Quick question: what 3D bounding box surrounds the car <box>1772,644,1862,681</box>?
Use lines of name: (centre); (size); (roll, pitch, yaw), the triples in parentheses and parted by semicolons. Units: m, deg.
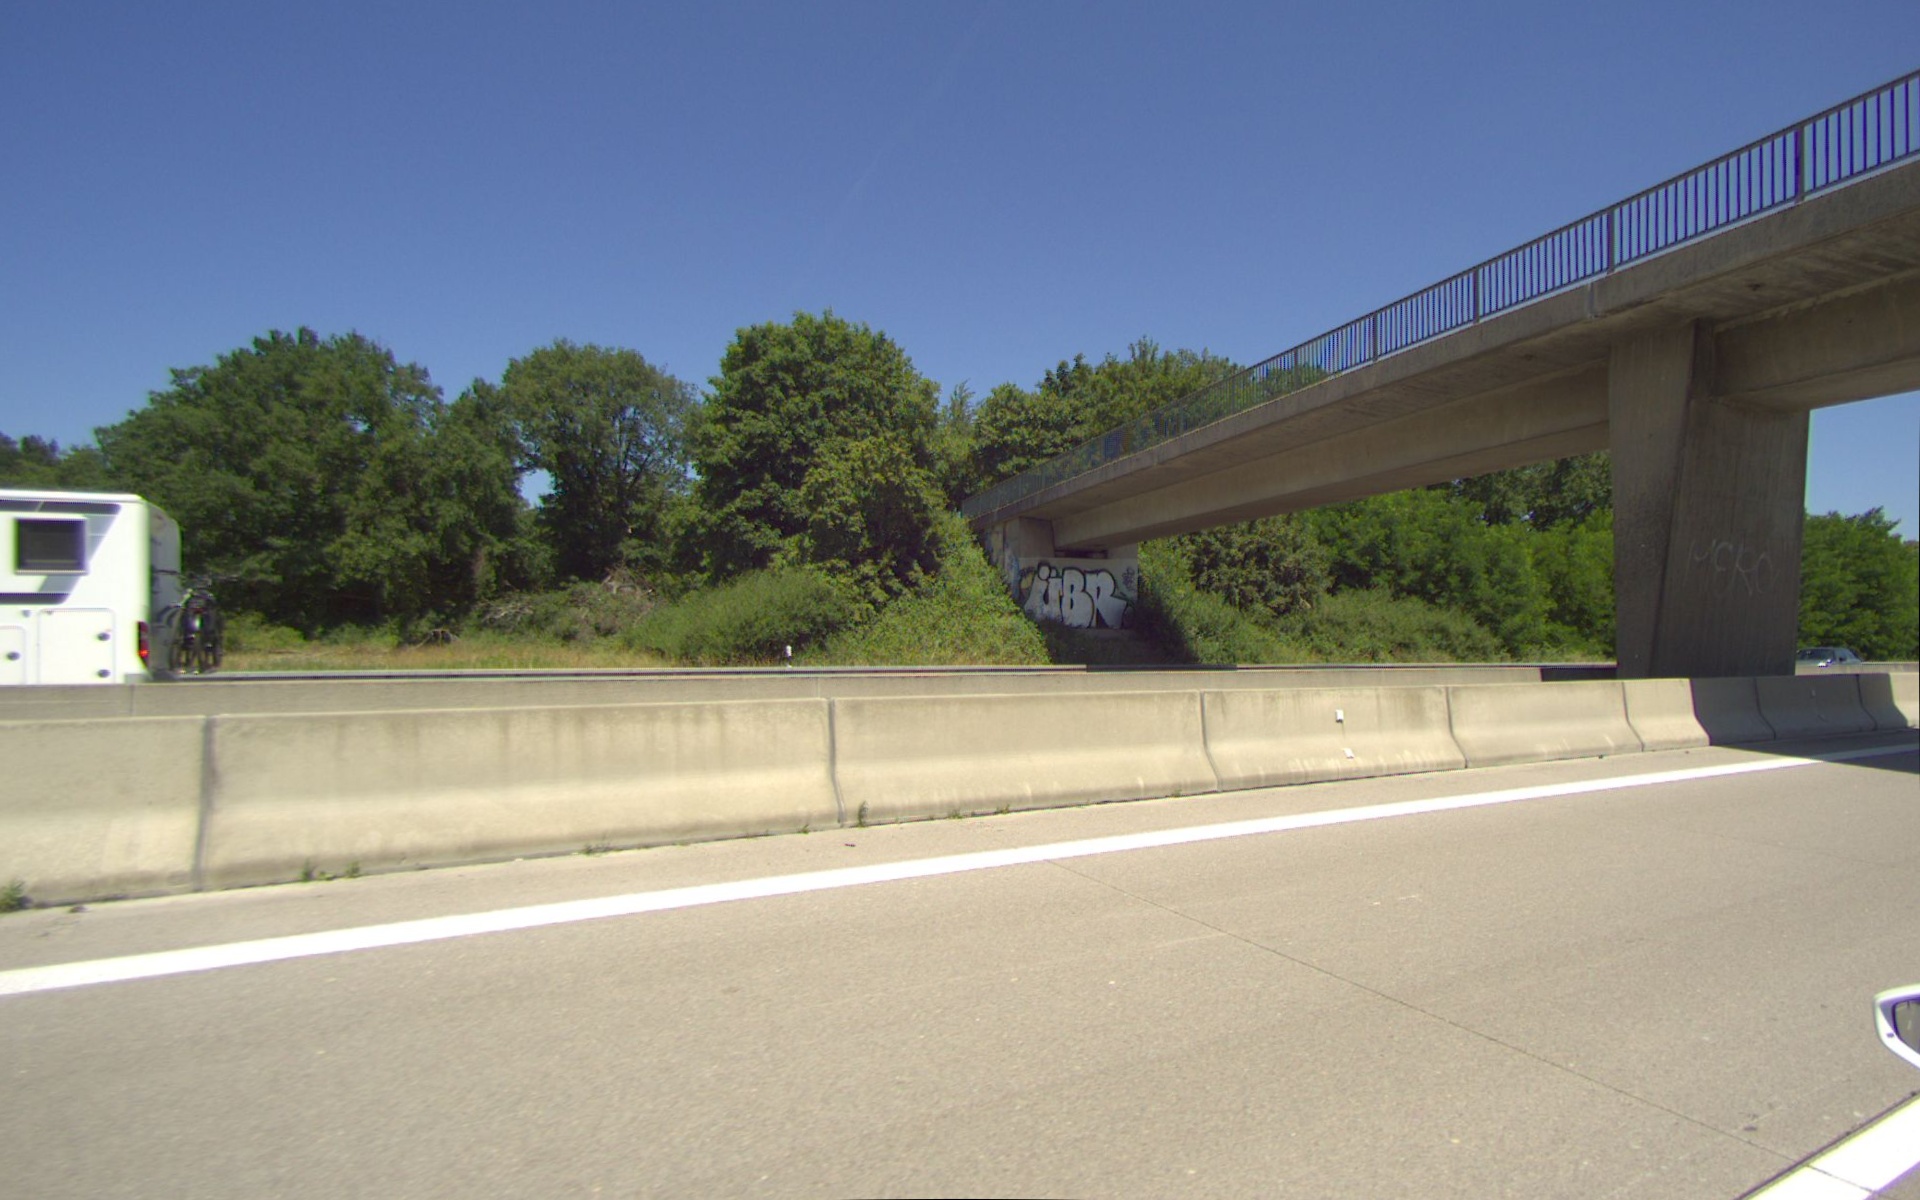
car: (32.920, 2.376, 38.587); (3.590, 1.336, 1.558); (2, -2, -31)

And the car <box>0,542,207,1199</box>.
car: (-4.309, 0.609, 0.931); (5.537, 1.493, 1.882); (1, -1, -30)

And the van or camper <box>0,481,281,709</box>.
van or camper: (-12.286, -0.101, 11.106); (7.712, 2.476, 2.237); (2, 0, -31)
